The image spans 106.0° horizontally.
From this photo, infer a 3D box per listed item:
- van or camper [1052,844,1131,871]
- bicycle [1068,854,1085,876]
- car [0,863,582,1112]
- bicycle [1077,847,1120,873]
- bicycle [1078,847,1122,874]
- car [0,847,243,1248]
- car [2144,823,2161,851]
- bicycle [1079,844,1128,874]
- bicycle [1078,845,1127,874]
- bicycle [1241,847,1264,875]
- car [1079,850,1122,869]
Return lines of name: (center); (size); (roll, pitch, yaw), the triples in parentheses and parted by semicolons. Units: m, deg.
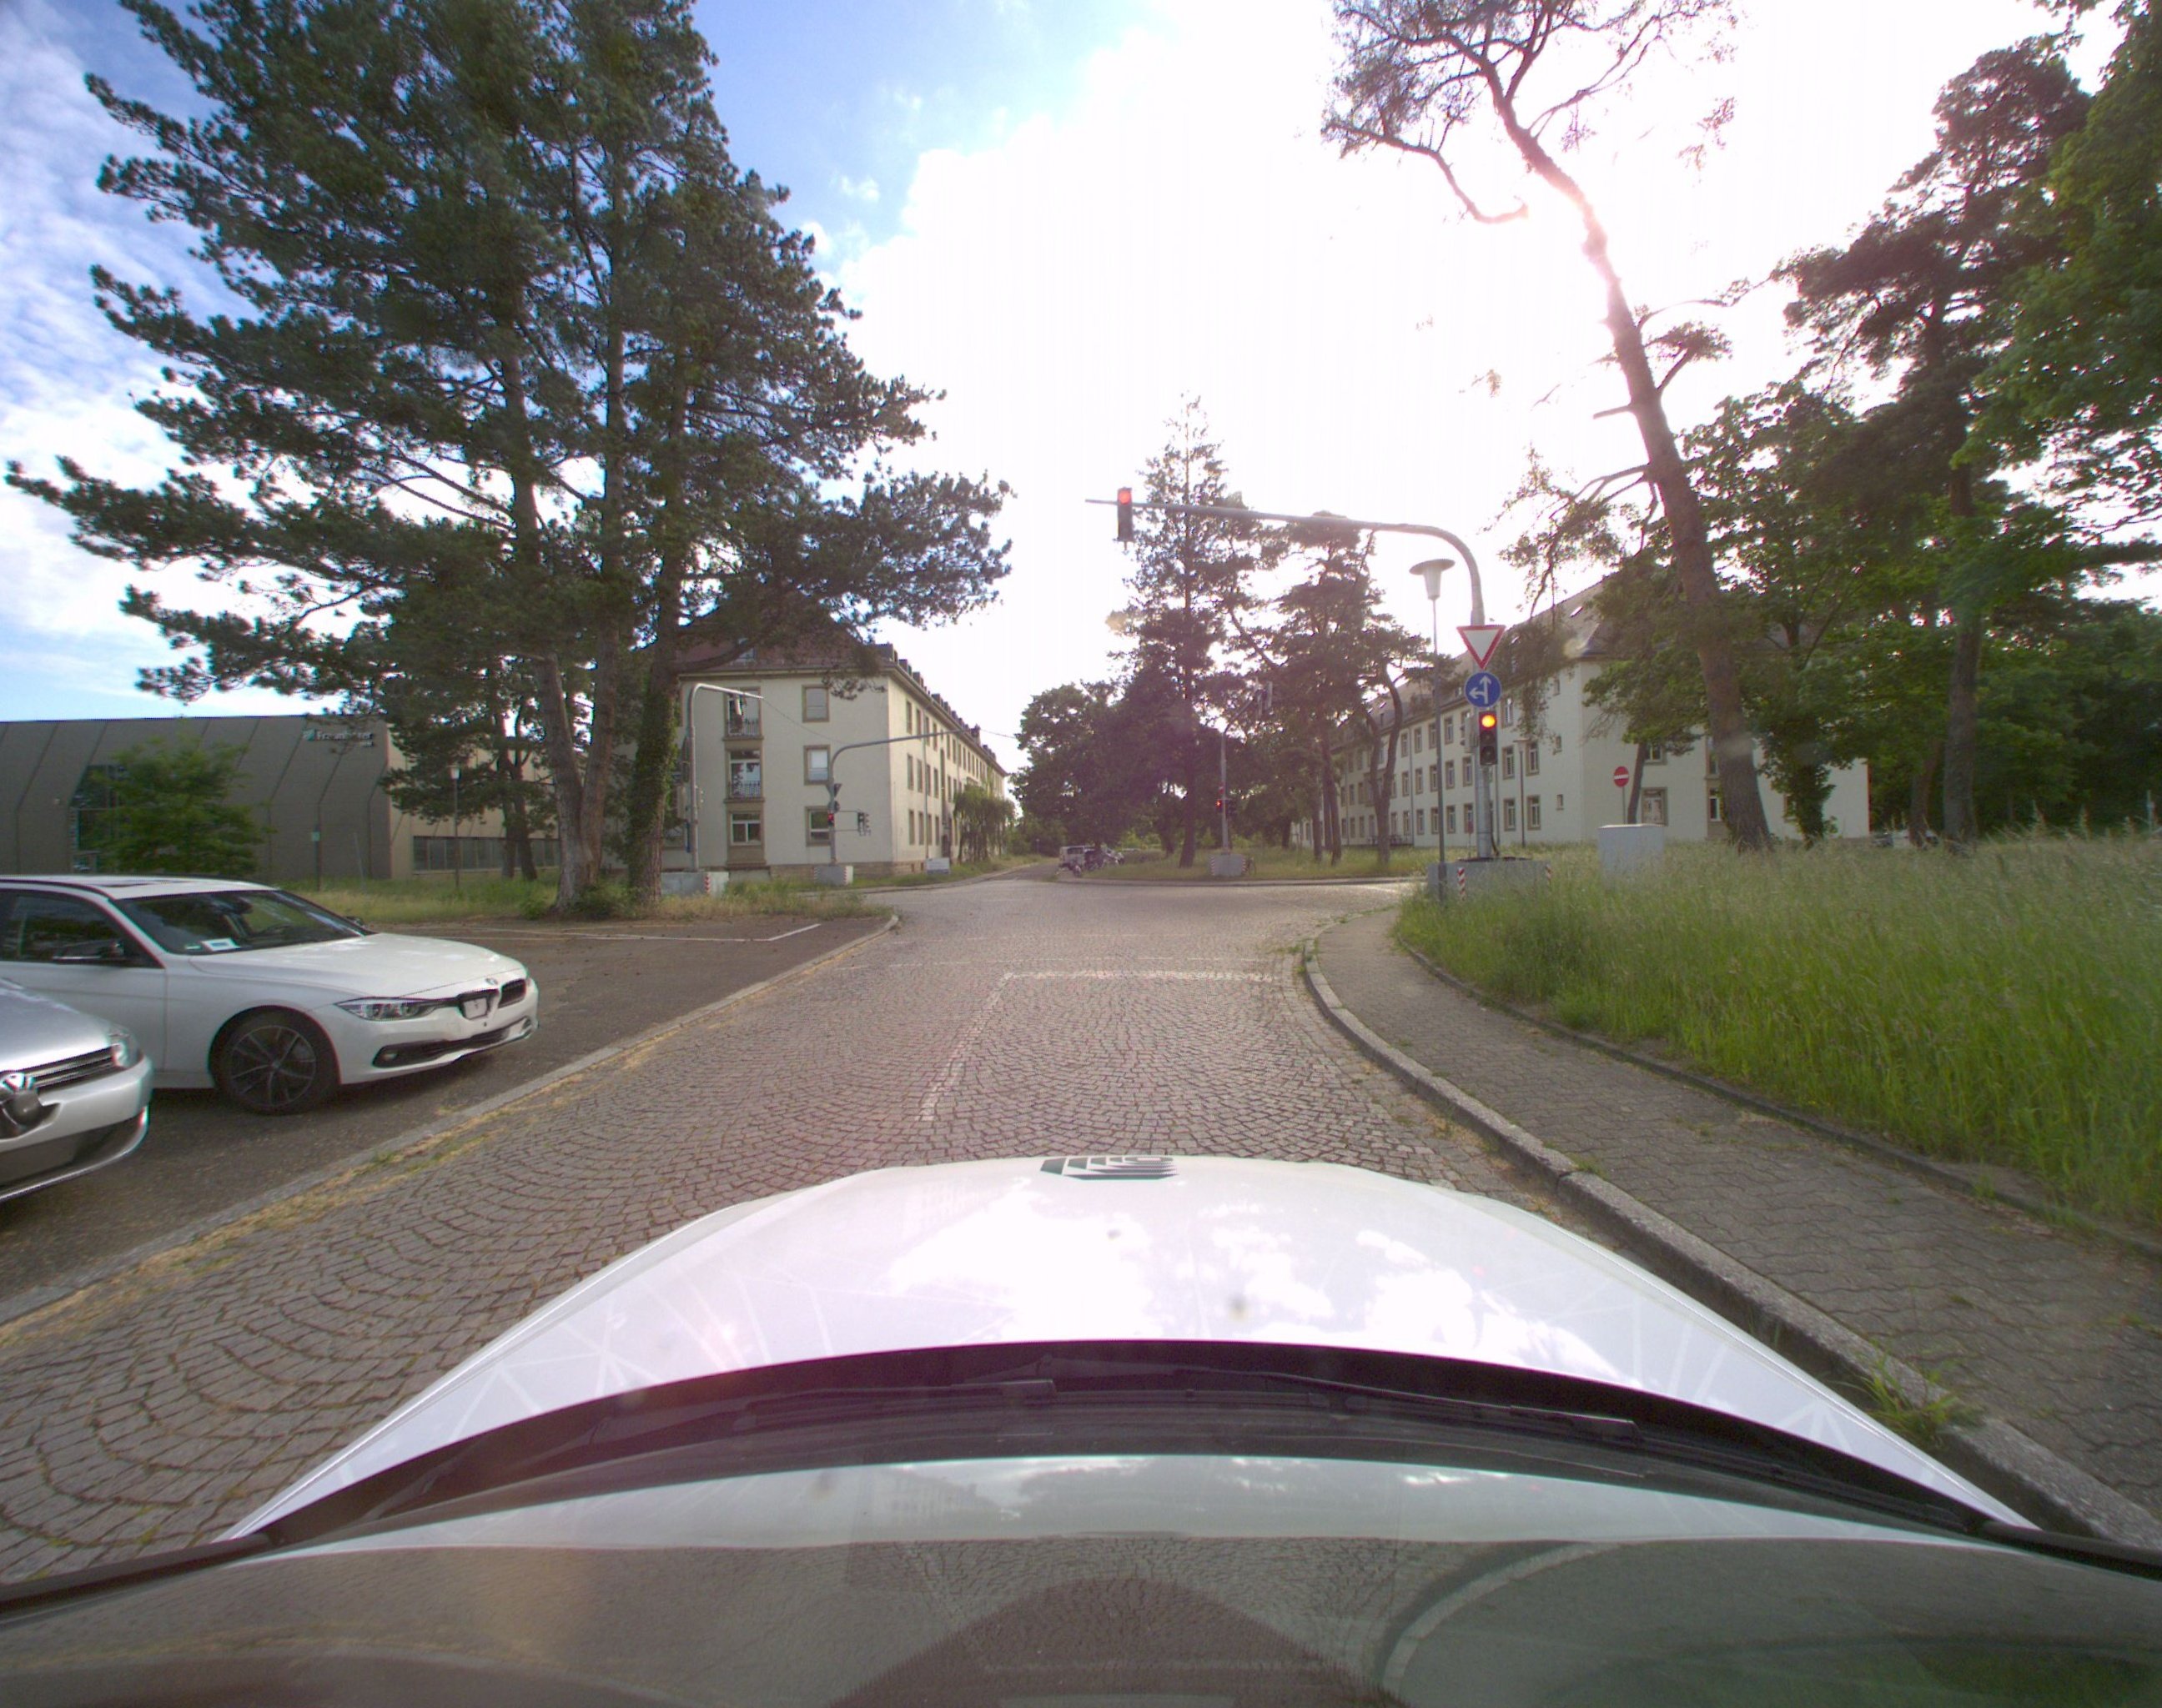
van or camper: (0.865, 0.258, 65.833); (6.040, 1.948, 1.991); (-2, 0, -14)
bicycle: (-0.204, 0.572, 43.578); (0.723, 1.107, 2.463); (-6, 0, 2)
car: (-6.409, 0.824, 5.819); (4.468, 1.442, 1.828); (1, 0, -4)
bicycle: (1.179, 0.390, 53.963); (2.765, 1.694, 1.120); (1, 0, 1)
bicycle: (1.256, 0.408, 52.626); (2.763, 1.694, 1.121); (1, 0, 4)
car: (-6.266, 0.762, 3.282); (3.822, 1.607, 1.734); (1, 0, -3)
car: (57.341, -0.852, 41.626); (3.974, 1.398, 1.563); (1, 0, 0)
bicycle: (1.309, 0.301, 47.867); (2.771, 1.694, 1.118); (-2, 0, -6)
bicycle: (1.290, 0.324, 49.061); (2.773, 1.694, 1.117); (-2, 0, -8)
bicycle: (7.579, 0.294, 36.109); (0.720, 1.169, 2.742); (0, 0, 7)
car: (1.477, 0.376, 62.260); (3.133, 1.354, 1.617); (-1, 0, -6)
